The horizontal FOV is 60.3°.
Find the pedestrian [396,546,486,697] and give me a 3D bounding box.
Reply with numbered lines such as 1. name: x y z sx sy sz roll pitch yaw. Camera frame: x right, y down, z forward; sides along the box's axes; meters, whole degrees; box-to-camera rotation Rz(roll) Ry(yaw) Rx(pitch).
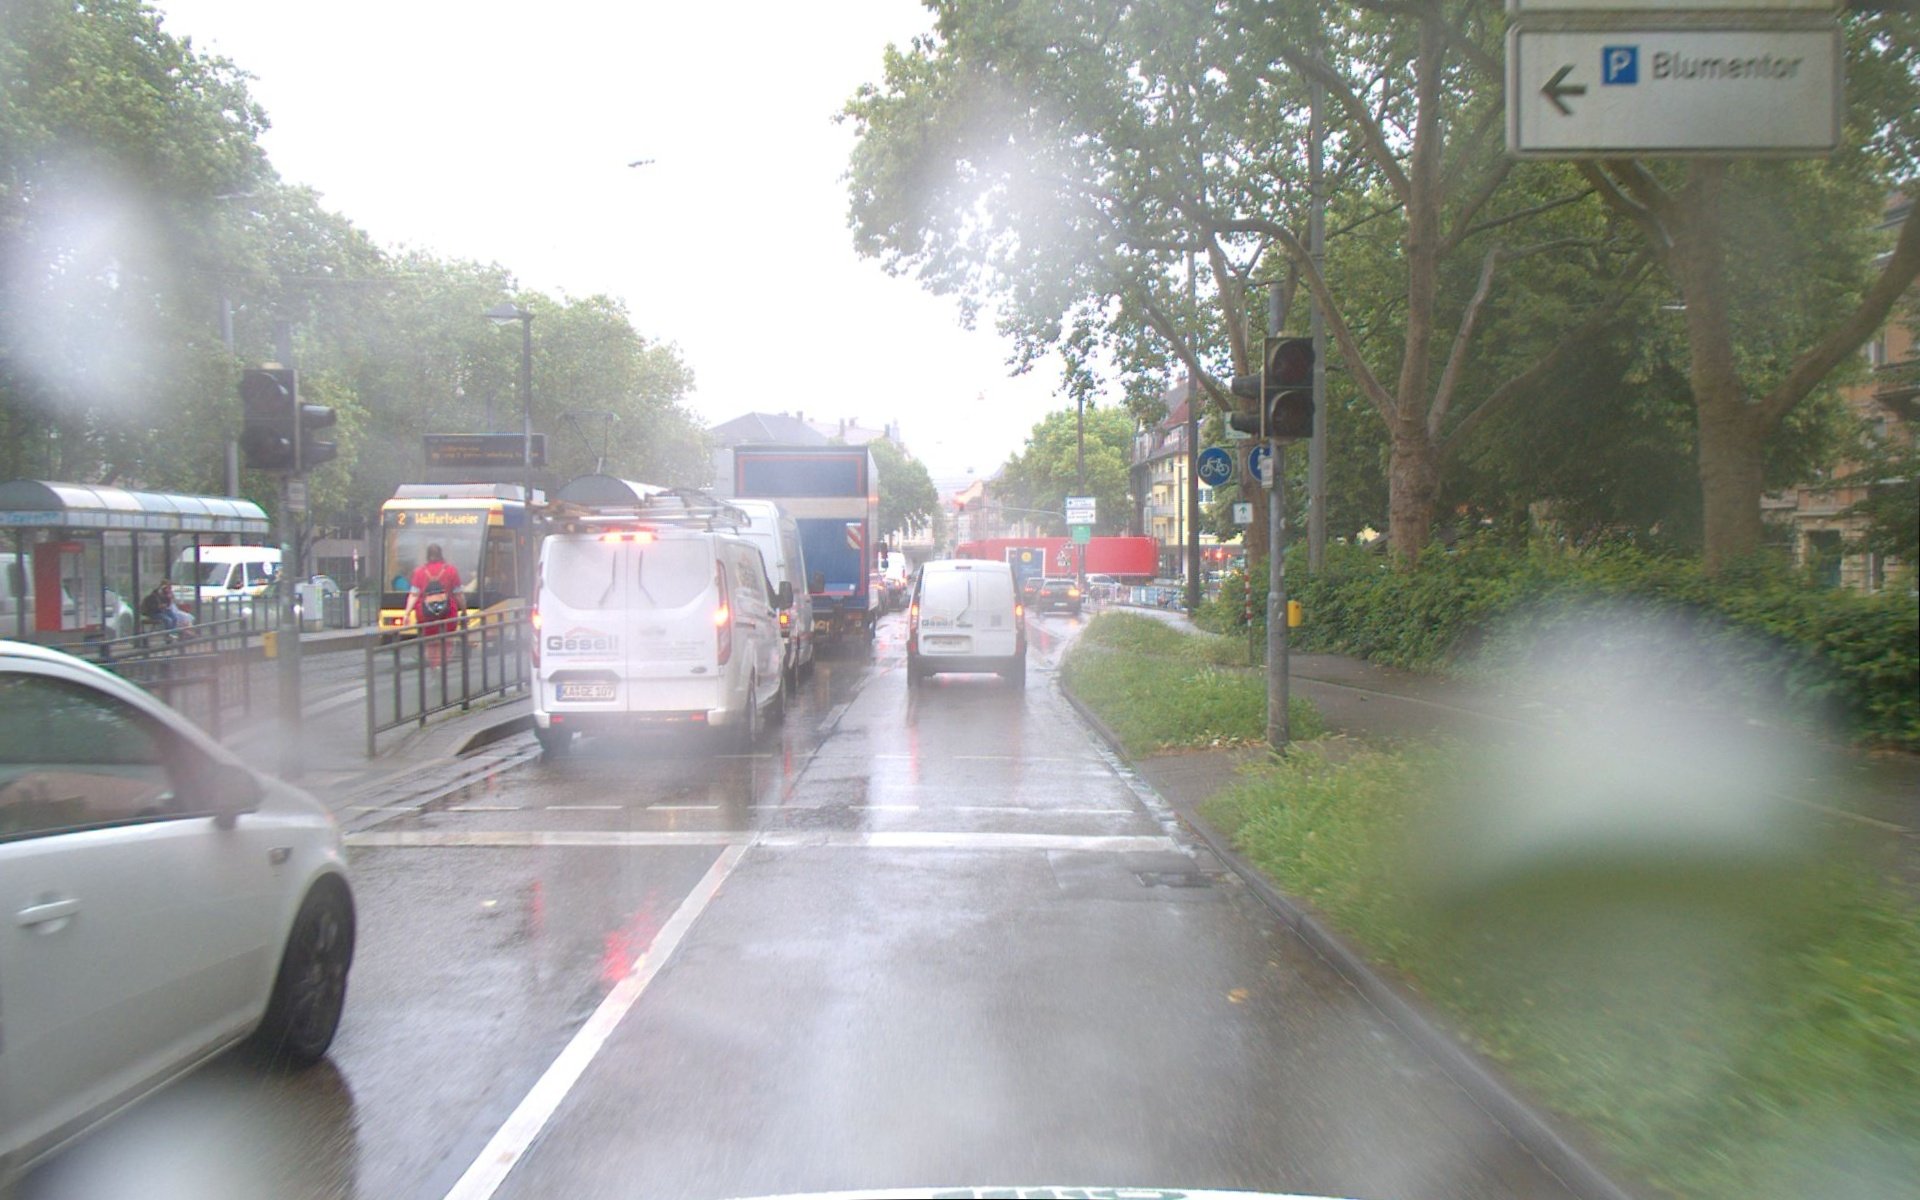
1. pedestrian: -6.183 0.259 19.731 0.774 1.744 0.770 2 -1 -1

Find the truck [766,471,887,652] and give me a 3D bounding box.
1. truck: -3.017 -0.869 38.306 2.528 3.972 3.999 0 1 -1

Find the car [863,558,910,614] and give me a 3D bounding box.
1. car: -3.380 -0.653 76.877 1.953 2.484 4.611 1 0 -1

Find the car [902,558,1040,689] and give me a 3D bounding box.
1. car: 0.143 0.334 24.750 1.919 1.808 3.569 0 0 -1

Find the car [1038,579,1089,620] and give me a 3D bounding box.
1. car: 4.098 -0.054 65.556 1.952 1.569 4.002 0 1 4

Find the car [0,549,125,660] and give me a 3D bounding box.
1. car: -18.822 0.087 32.106 2.139 2.049 6.114 0 0 0

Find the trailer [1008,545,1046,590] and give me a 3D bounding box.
1. trailer: 3.742 -1.792 91.529 1.951 2.357 4.671 0 0 4

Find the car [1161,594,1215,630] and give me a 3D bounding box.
1. car: 10.543 0.530 76.670 1.786 1.516 4.352 -2 1 -2

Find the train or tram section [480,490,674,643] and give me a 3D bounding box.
1. train or tram section: -9.296 -0.852 41.191 2.918 3.342 8.430 -2 1 -1

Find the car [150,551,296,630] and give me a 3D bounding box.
1. car: -22.211 -0.304 50.091 1.952 2.262 5.226 0 1 2

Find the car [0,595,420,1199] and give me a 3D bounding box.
1. car: -2.783 0.743 3.959 1.690 1.505 3.805 0 0 0

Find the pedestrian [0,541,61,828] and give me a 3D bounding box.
1. pedestrian: -6.253 0.523 10.480 0.663 1.769 0.807 0 0 -1

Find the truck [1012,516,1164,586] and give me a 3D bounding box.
1. truck: 9.857 -3.725 127.549 11.127 4.985 3.290 -1 1 20

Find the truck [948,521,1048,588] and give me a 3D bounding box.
1. truck: 2.996 -3.577 130.125 7.009 4.985 3.290 -1 1 20

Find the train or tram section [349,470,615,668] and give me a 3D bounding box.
1. train or tram section: -9.131 -0.642 32.792 2.901 3.342 8.359 -2 1 -1

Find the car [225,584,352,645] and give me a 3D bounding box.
1. car: -19.092 0.367 47.243 1.953 1.608 4.000 -1 1 0

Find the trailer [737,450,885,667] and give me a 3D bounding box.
1. trailer: -2.907 -0.814 34.217 2.538 3.968 7.634 0 1 -1

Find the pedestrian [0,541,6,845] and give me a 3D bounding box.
1. pedestrian: -5.960 0.546 9.343 0.701 1.775 0.750 0 0 -1

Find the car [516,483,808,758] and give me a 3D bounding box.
1. car: -2.747 0.184 16.550 1.953 2.302 5.288 0 0 0

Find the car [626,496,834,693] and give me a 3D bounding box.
1. car: -3.274 -0.055 24.931 2.282 2.602 6.114 0 0 0
